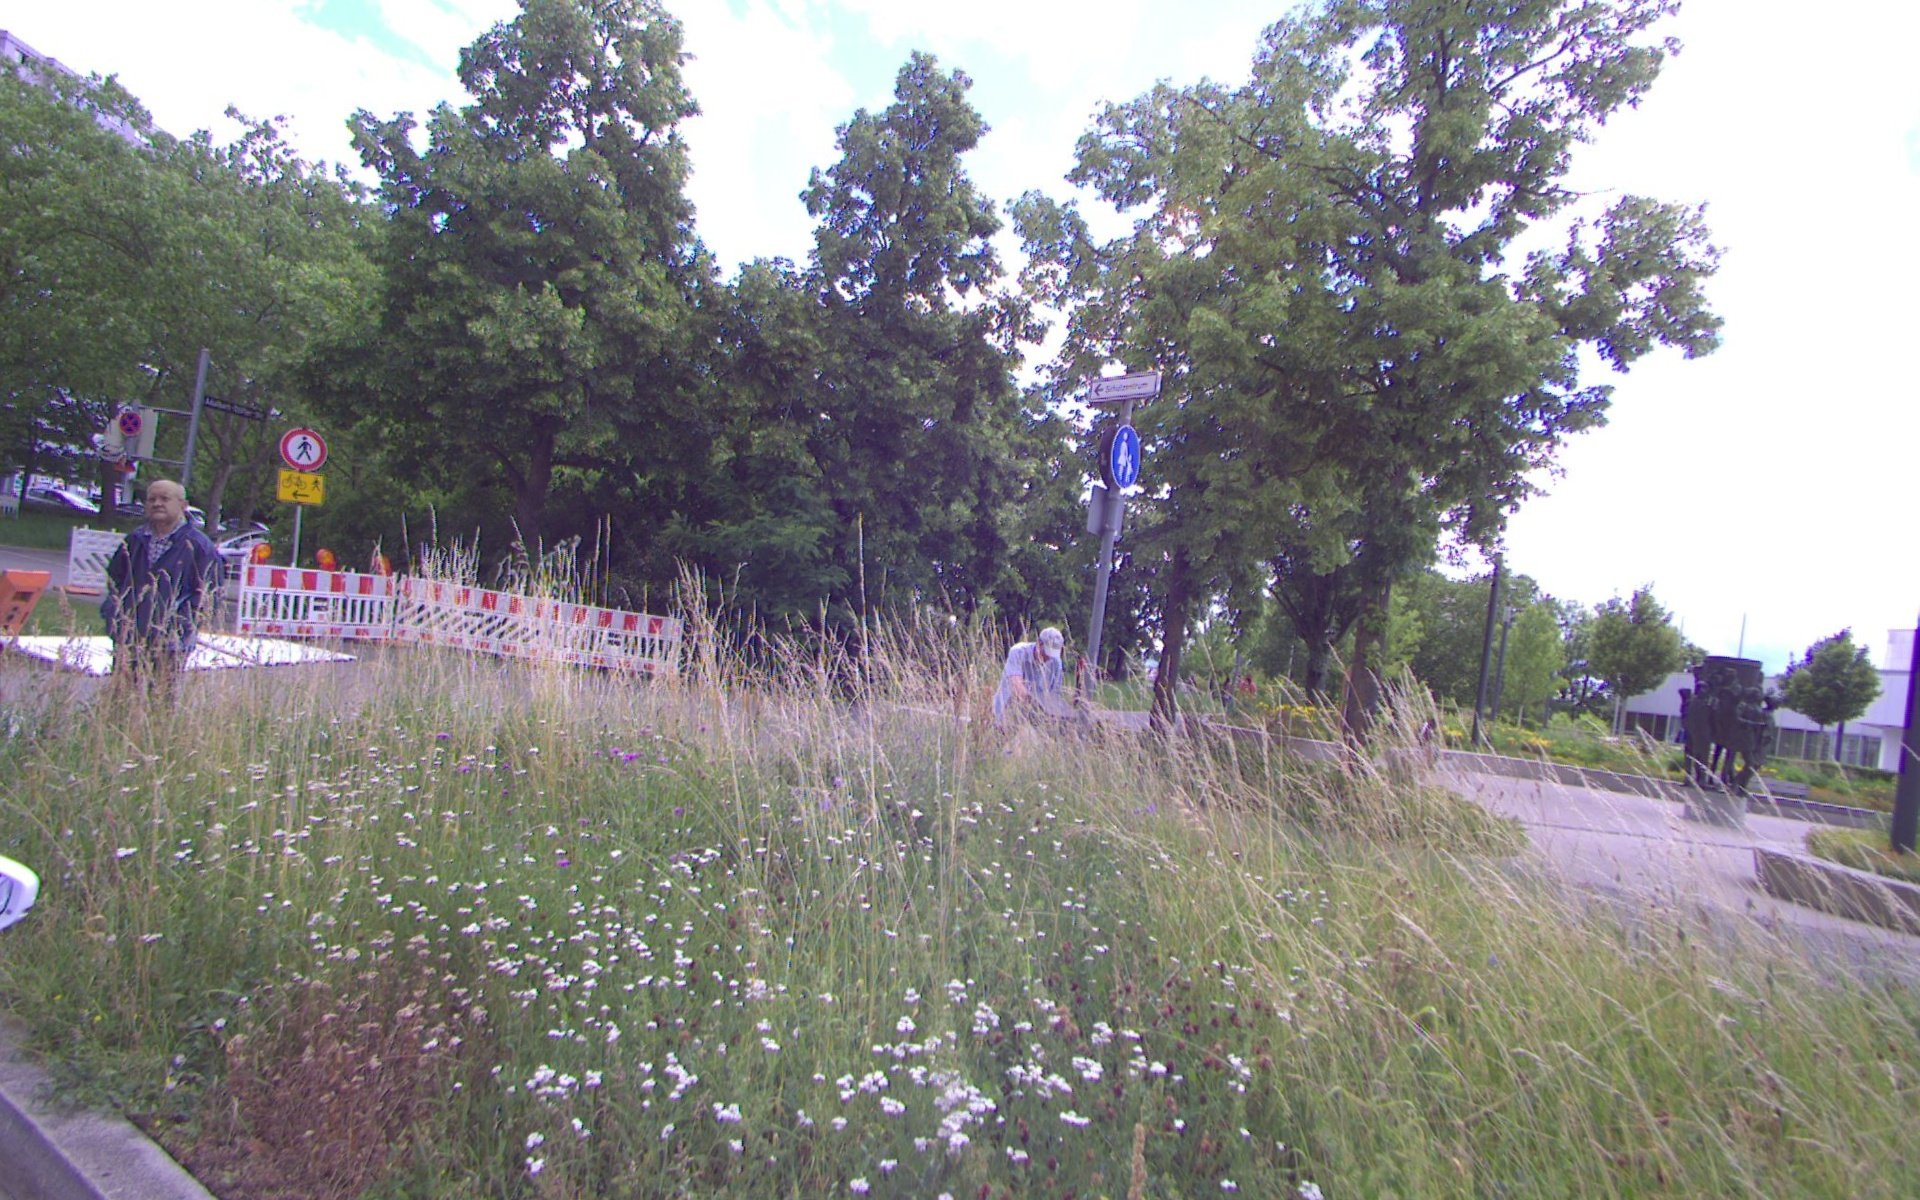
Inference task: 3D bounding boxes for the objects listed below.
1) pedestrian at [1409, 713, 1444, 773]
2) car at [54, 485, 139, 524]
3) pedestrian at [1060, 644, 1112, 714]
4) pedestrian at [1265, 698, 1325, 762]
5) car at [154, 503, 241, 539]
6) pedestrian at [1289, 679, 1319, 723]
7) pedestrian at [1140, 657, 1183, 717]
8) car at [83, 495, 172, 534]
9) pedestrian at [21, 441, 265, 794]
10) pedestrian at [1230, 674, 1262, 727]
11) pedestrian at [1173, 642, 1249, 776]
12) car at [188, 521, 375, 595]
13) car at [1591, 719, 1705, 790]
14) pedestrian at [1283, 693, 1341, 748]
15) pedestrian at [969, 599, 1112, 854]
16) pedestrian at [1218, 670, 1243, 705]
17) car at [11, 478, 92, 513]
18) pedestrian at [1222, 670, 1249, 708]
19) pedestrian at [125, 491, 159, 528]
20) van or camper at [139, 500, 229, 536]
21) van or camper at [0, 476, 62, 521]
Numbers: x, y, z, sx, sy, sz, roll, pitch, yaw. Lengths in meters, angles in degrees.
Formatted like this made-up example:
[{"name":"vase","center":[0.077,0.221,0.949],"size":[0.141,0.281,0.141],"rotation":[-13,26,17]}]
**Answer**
[{"name":"pedestrian","center":[10.759,3.288,23.186],"size":[0.560,1.277,0.582],"rotation":[7,-1,29]},{"name":"car","center":[-54.462,-5.998,63.462],"size":[3.751,1.653,1.674],"rotation":[9,-1,1]},{"name":"pedestrian","center":[3.308,2.047,26.283],"size":[0.974,1.671,0.871],"rotation":[7,0,21]},{"name":"pedestrian","center":[5.232,2.010,15.689],"size":[0.685,0.874,0.651],"rotation":[7,0,28]},{"name":"car","center":[-44.637,-4.603,58.899],"size":[3.820,1.482,1.486],"rotation":[7,-1,1]},{"name":"pedestrian","center":[14.324,4.199,41.884],"size":[0.974,1.671,0.871],"rotation":[7,0,21]},{"name":"pedestrian","center":[6.202,2.669,30.918],"size":[0.974,1.671,0.871],"rotation":[7,0,21]},{"name":"car","center":[-43.774,-4.498,52.942],"size":[3.345,1.420,1.486],"rotation":[7,-2,2]},{"name":"pedestrian","center":[-4.525,0.102,5.662],"size":[0.720,1.761,0.949],"rotation":[8,-1,-29]},{"name":"pedestrian","center":[8.797,3.085,30.880],"size":[0.624,1.519,0.704],"rotation":[7,0,29]},{"name":"pedestrian","center":[3.461,1.483,13.854],"size":[0.685,1.715,0.651],"rotation":[7,0,28]},{"name":"car","center":[-21.042,-1.255,31.398],"size":[1.744,1.604,4.405],"rotation":[6,-2,33]},{"name":"car","center":[22.780,5.077,33.476],"size":[1.606,1.786,3.509],"rotation":[7,-2,9]},{"name":"pedestrian","center":[7.237,2.473,20.701],"size":[0.703,0.959,0.747],"rotation":[8,-1,-21]},{"name":"pedestrian","center":[0.602,0.945,7.769],"size":[0.717,1.812,0.692],"rotation":[8,0,-12]},{"name":"pedestrian","center":[13.881,4.473,51.627],"size":[0.974,1.671,0.871],"rotation":[7,0,21]},{"name":"car","center":[-54.443,-6.255,60.329],"size":[3.345,1.420,1.486],"rotation":[7,-2,1]},{"name":"pedestrian","center":[13.303,4.276,48.595],"size":[0.974,1.671,0.871],"rotation":[7,0,21]},{"name":"pedestrian","center":[-47.073,-5.192,57.892],"size":[1.042,1.893,1.074],"rotation":[6,-1,30]},{"name":"van or camper","center":[-43.573,-4.605,56.535],"size":[3.706,1.372,1.519],"rotation":[8,-2,-1]},{"name":"van or camper","center":[-44.310,-4.850,46.500],"size":[3.925,1.704,1.847],"rotation":[8,-1,4]}]
